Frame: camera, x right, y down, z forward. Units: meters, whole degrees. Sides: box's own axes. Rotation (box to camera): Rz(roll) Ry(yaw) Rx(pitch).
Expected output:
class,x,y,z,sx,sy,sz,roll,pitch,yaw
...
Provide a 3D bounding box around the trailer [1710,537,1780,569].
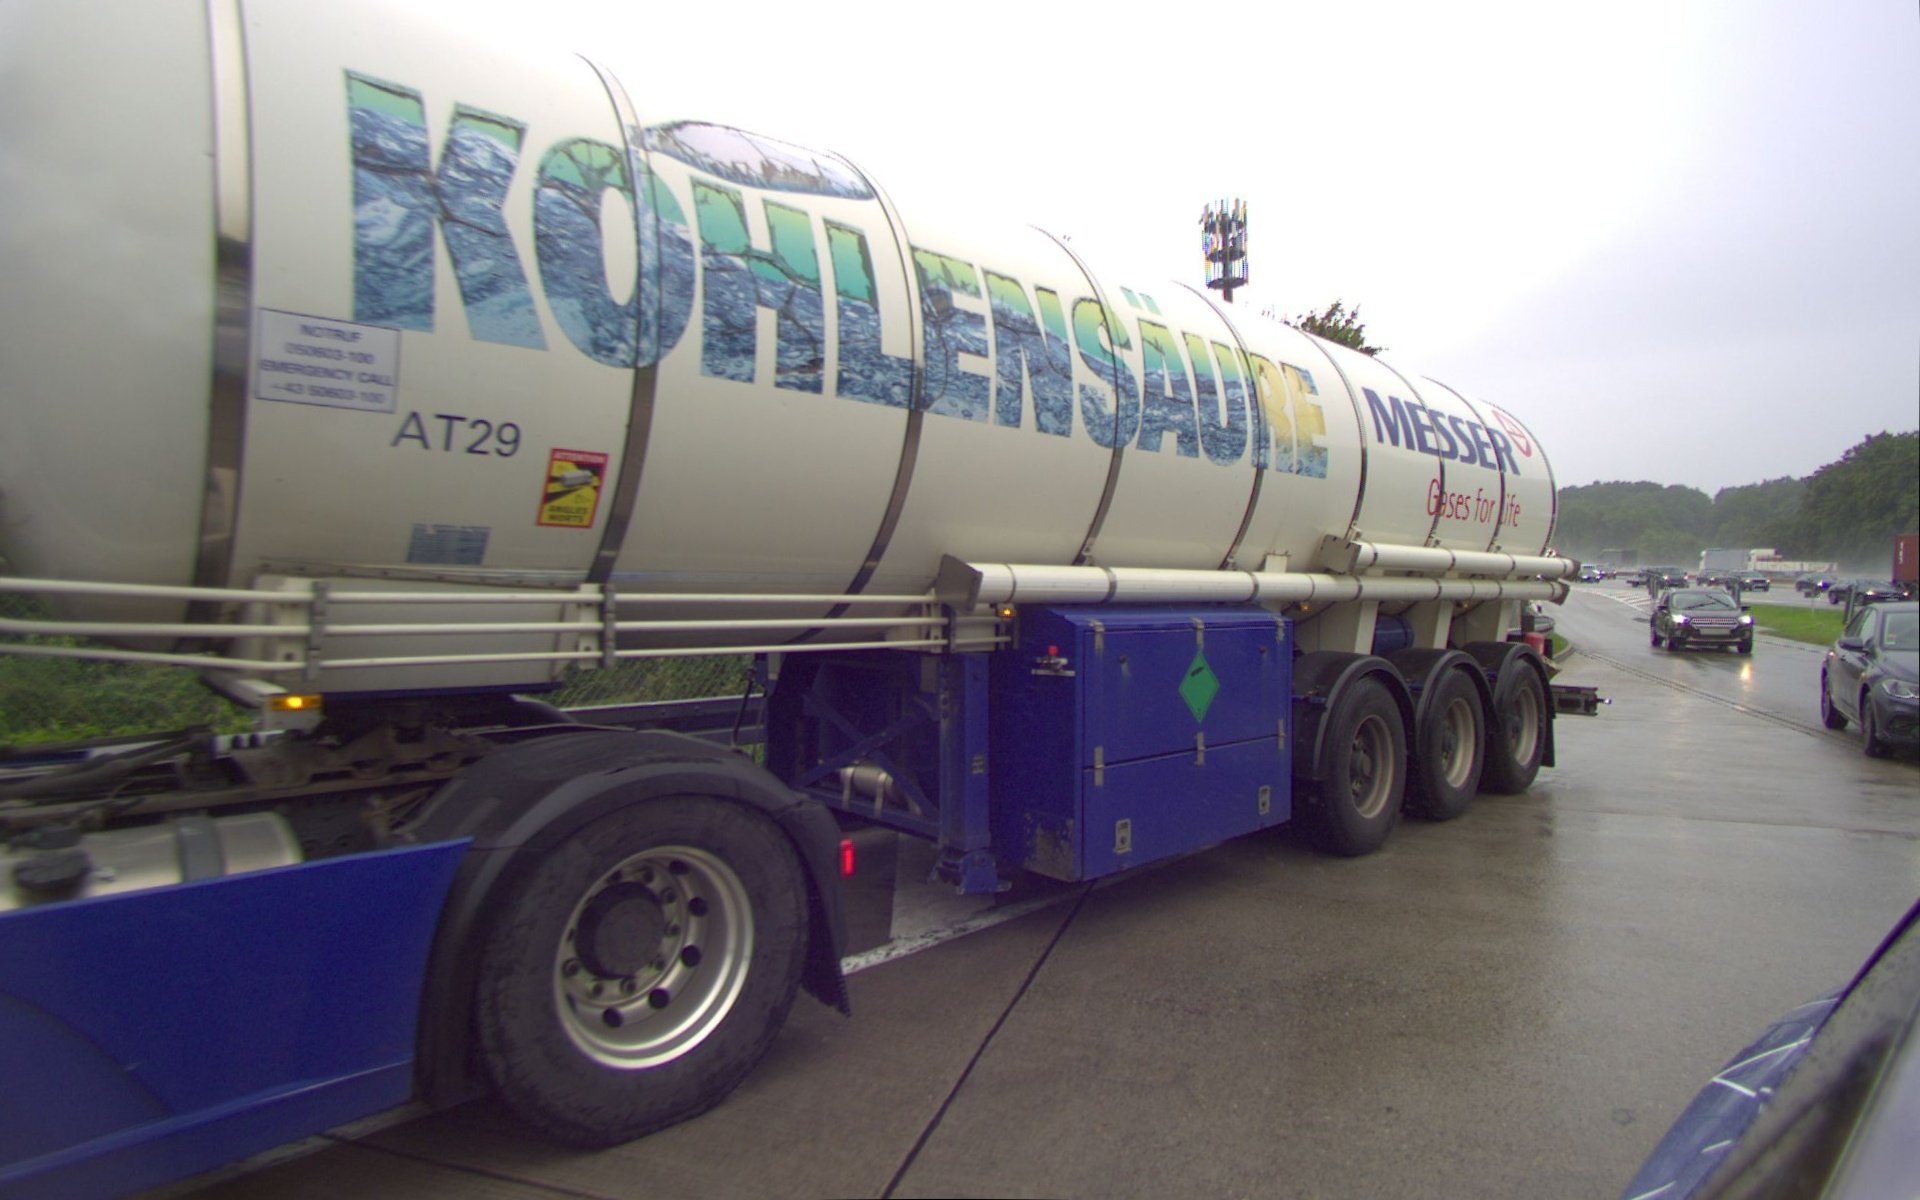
class,x,y,z,sx,sy,sz,roll,pitch,yaw
trailer,108.252,-6.434,139.872,2.696,3.584,13.979,-5,-1,17

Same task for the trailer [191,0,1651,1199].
class,x,y,z,sx,sy,sz,roll,pitch,yaw
trailer,1.669,-0.306,6.284,10.144,3.265,1.983,-1,0,-42

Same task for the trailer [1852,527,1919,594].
class,x,y,z,sx,sy,sz,roll,pitch,yaw
trailer,52.119,-2.141,52.768,2.657,3.548,15.036,-4,1,19

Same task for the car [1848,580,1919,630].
class,x,y,z,sx,sy,sz,roll,pitch,yaw
car,46.909,0.209,50.933,1.895,2.037,3.976,-6,1,21

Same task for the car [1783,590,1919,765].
class,x,y,z,sx,sy,sz,roll,pitch,yaw
car,9.769,0.638,10.020,1.655,1.420,4.222,0,1,27

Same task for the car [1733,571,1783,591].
class,x,y,z,sx,sy,sz,roll,pitch,yaw
car,65.688,-1.536,83.353,1.763,1.579,4.078,0,0,15

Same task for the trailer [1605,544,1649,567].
class,x,y,z,sx,sy,sz,roll,pitch,yaw
trailer,126.755,-8.426,192.592,2.994,3.859,13.344,-2,1,16

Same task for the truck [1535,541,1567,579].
class,x,y,z,sx,sy,sz,roll,pitch,yaw
truck,69.878,-4.726,119.772,2.571,4.197,5.186,-3,0,25

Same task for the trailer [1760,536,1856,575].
class,x,y,z,sx,sy,sz,roll,pitch,yaw
trailer,94.940,-4.874,113.716,2.587,3.727,14.591,-4,-1,17

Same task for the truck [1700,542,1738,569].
class,x,y,z,sx,sy,sz,roll,pitch,yaw
truck,110.637,-6.448,147.561,2.685,3.579,4.736,-5,-2,17

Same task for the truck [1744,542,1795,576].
class,x,y,z,sx,sy,sz,roll,pitch,yaw
truck,97.431,-4.925,121.930,2.595,3.717,5.959,-4,-1,17

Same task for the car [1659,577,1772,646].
class,x,y,z,sx,sy,sz,roll,pitch,yaw
car,20.224,0.277,27.264,1.795,1.560,3.961,-4,0,29

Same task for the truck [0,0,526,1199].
class,x,y,z,sx,sy,sz,roll,pitch,yaw
truck,-3.501,-0.384,1.730,4.665,3.576,2.055,-1,0,-42

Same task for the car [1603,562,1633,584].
class,x,y,z,sx,sy,sz,roll,pitch,yaw
car,74.350,-3.063,114.319,1.896,2.037,3.974,-6,1,22

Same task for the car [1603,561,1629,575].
class,x,y,z,sx,sy,sz,roll,pitch,yaw
car,88.750,-4.263,136.881,1.974,1.835,3.977,1,1,18
